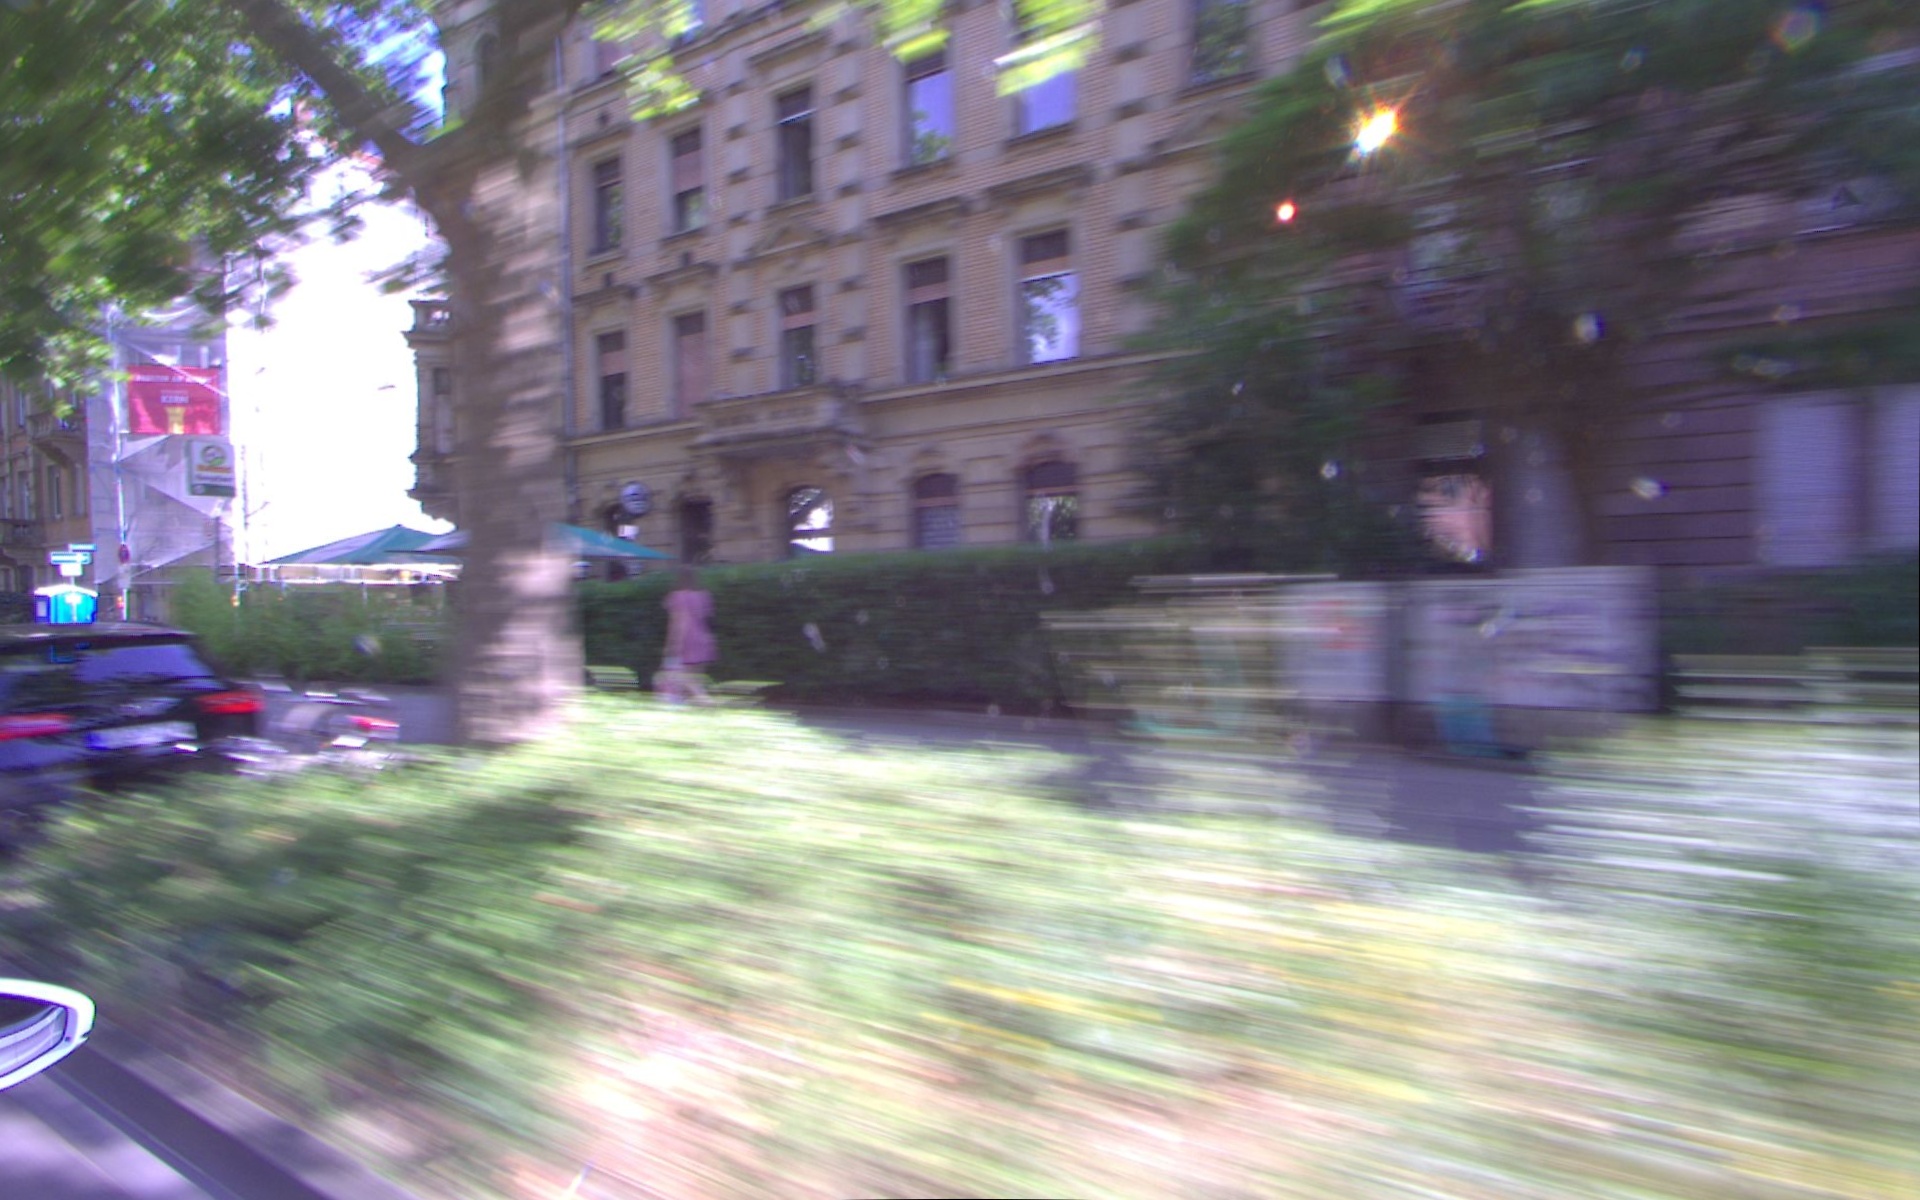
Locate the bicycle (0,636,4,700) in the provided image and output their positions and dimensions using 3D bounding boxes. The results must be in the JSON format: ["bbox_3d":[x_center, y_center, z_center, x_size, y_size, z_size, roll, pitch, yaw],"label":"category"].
[{"bbox_3d":[-18.185,1.226,18.237,2.277,1.127,0.564,-1,1,32],"label":"bicycle"}]

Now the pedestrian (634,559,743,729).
[{"bbox_3d":[-3.021,0.465,11.174,0.840,1.810,0.734,0,3,31],"label":"pedestrian"}]

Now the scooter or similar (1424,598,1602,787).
[{"bbox_3d":[4.133,0.647,7.490,1.129,1.300,0.580,0,1,33],"label":"scooter or similar"}]

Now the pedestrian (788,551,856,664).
[{"bbox_3d":[-2.265,0.113,16.526,0.726,1.810,0.849,-1,3,23],"label":"pedestrian"}]

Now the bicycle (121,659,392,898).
[{"bbox_3d":[-4.027,0.954,5.892,0.462,1.103,1.637,-1,1,-2],"label":"bicycle"}]

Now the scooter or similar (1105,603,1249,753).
[{"bbox_3d":[1.949,0.665,9.006,1.128,1.264,0.580,0,1,32],"label":"scooter or similar"}]

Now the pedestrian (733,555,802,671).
[{"bbox_3d":[-3.200,0.199,16.709,0.725,1.877,0.850,-1,3,20],"label":"pedestrian"}]

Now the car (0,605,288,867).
[{"bbox_3d":[-7.336,0.844,7.723,4.576,1.528,1.829,-1,1,32],"label":"car"}]
